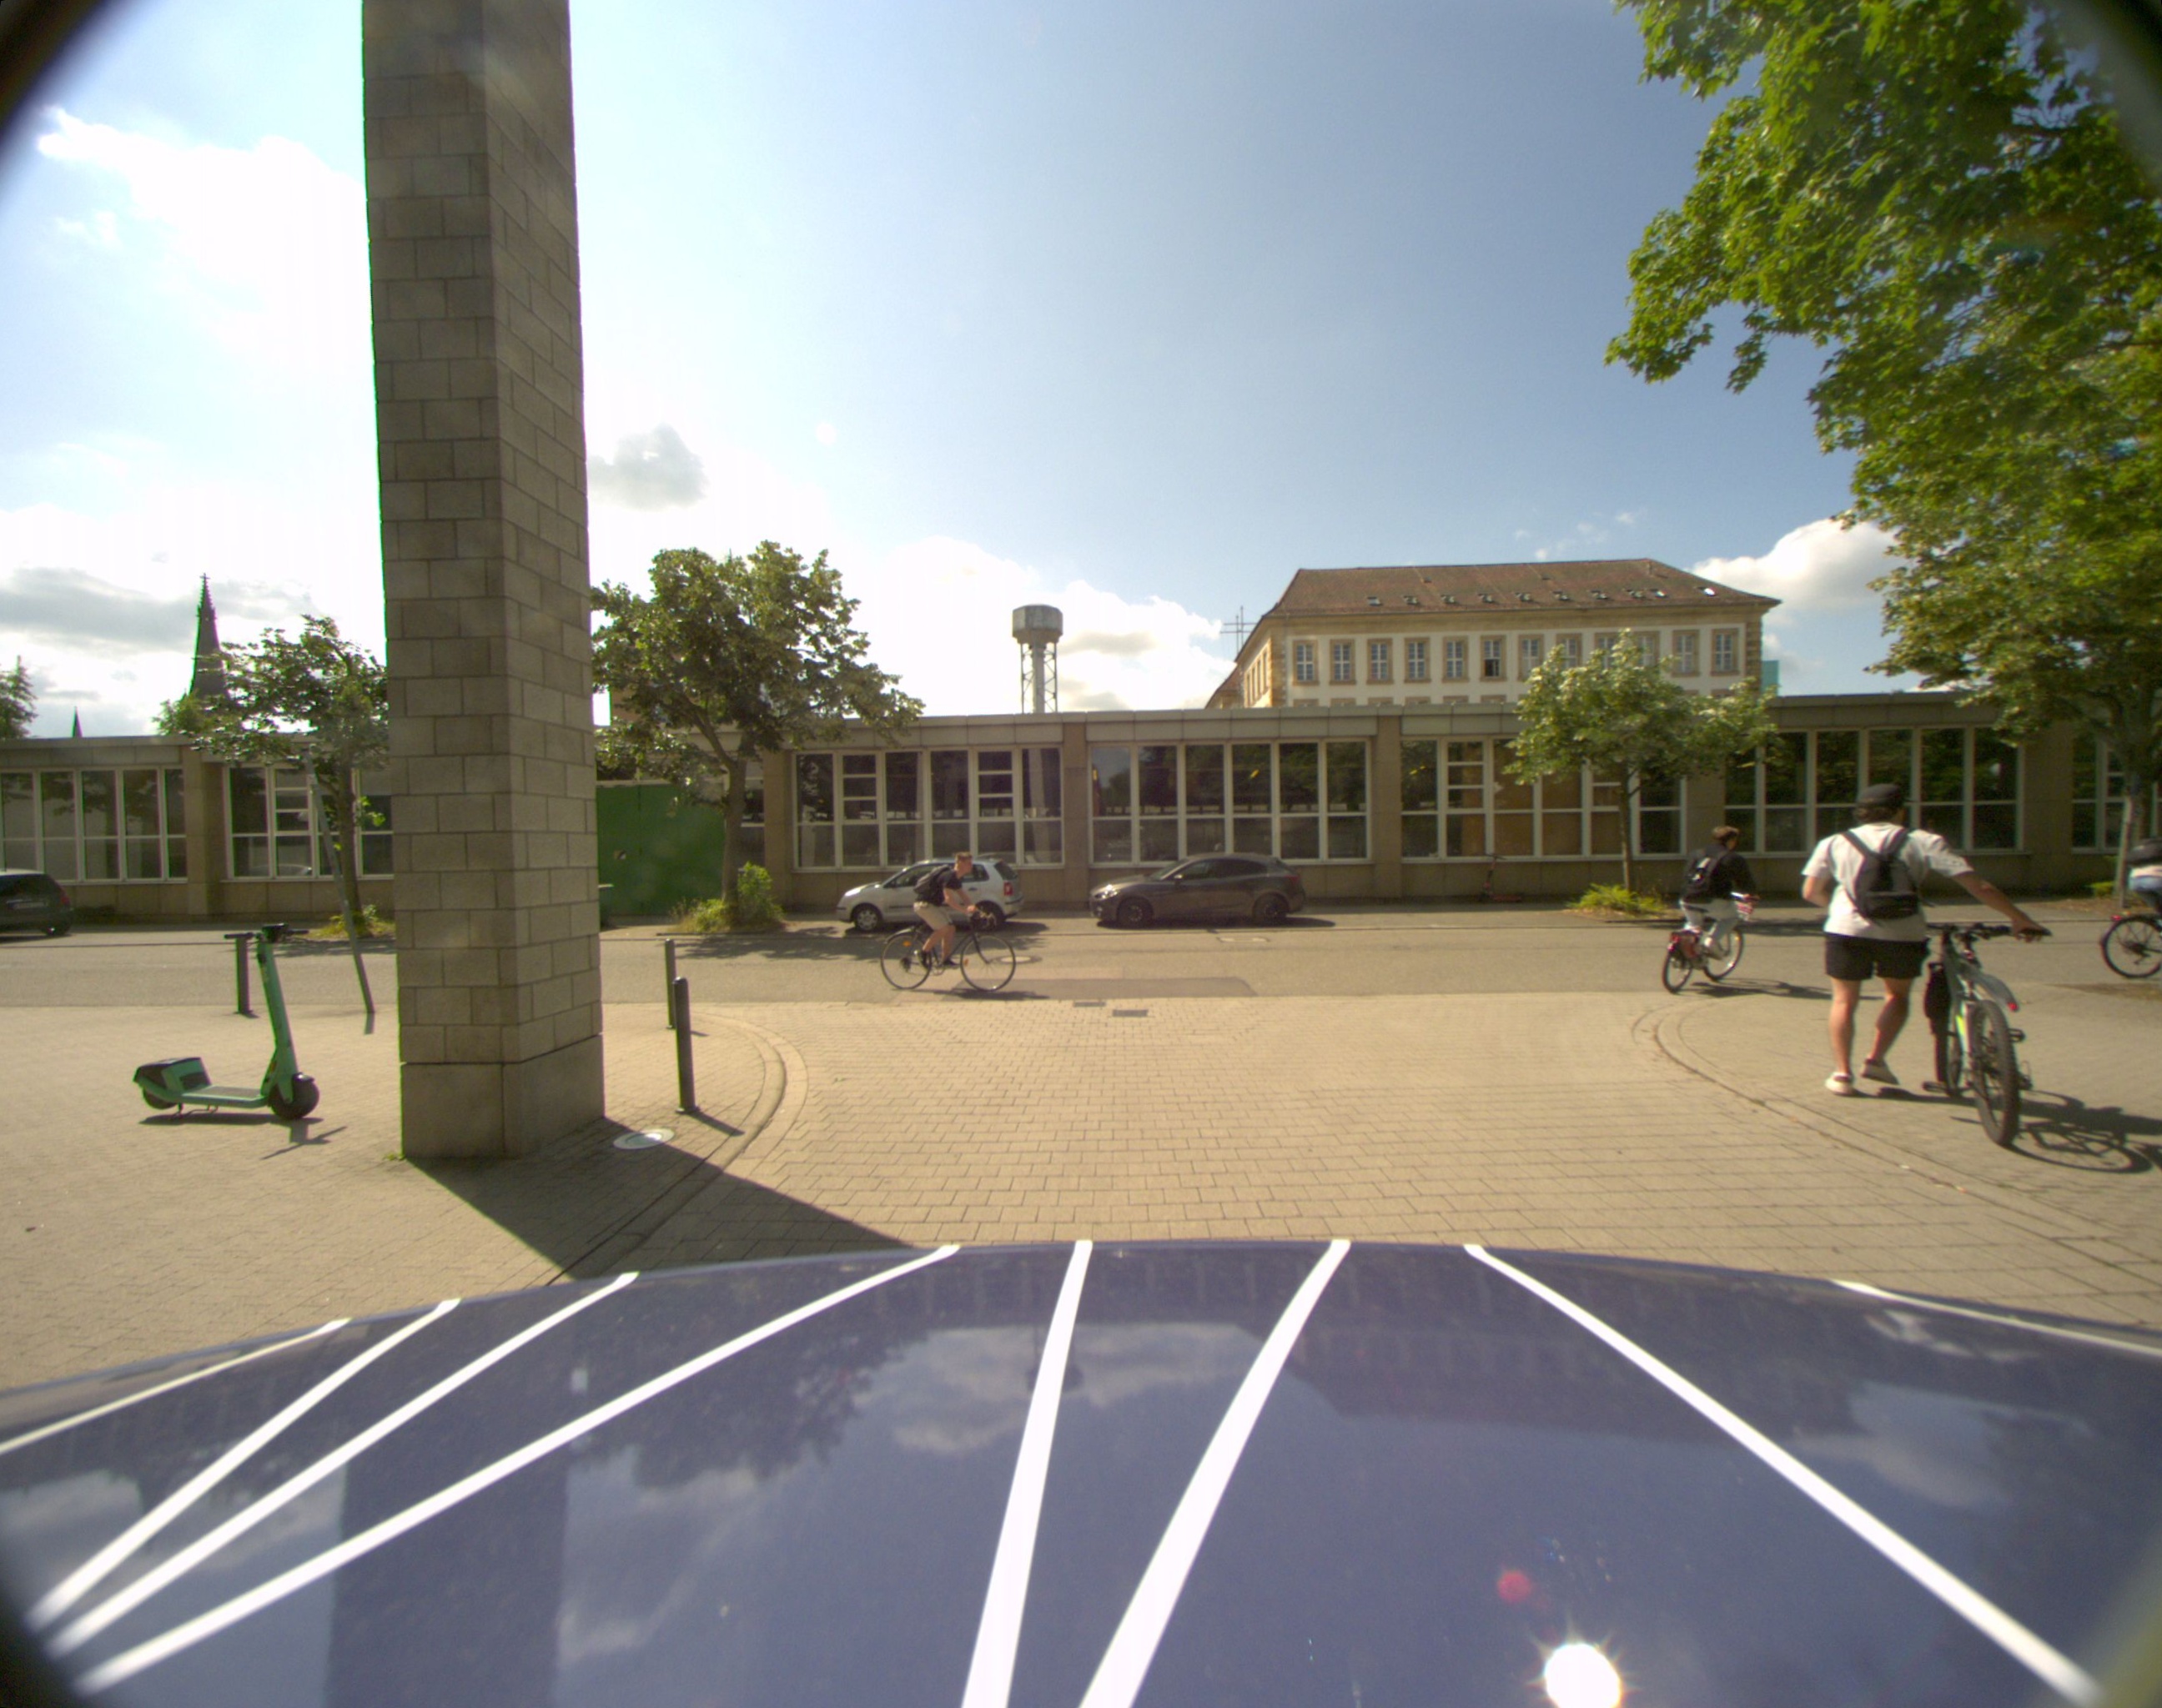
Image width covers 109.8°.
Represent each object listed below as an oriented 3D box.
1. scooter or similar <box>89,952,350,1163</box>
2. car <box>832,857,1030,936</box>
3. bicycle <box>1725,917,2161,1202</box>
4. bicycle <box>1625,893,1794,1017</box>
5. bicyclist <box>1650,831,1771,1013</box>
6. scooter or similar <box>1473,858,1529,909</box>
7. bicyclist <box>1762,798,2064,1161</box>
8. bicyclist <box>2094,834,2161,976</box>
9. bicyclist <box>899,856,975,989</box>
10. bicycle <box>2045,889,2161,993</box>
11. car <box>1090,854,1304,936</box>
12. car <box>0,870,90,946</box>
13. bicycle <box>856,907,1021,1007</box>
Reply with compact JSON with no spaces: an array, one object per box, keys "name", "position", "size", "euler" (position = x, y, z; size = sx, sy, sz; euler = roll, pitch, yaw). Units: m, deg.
[{"name":"scooter or similar","position":[-5.195,1.194,4.606],"size":[1.157,1.144,0.444],"euler":[-1,1,7]},{"name":"car","position":[-3.068,0.864,16.055],"size":[3.775,1.468,1.653],"euler":[-1,3,3]},{"name":"bicycle","position":[4.736,0.988,4.326],"size":[0.804,1.164,1.889],"euler":[-1,-2,12]},{"name":"bicycle","position":[6.935,1.054,8.374],"size":[1.888,1.134,0.673],"euler":[-2,1,-25]},{"name":"bicyclist","position":[6.931,0.696,8.373],"size":[0.970,1.877,0.673],"euler":[-2,2,-24]},{"name":"scooter or similar","position":[10.173,0.709,18.408],"size":[1.157,1.219,0.290],"euler":[-1,1,6]},{"name":"bicyclist","position":[4.737,0.658,4.413],"size":[0.804,1.881,0.868],"euler":[-3,2,12]},{"name":"bicyclist","position":[12.464,0.562,8.647],"size":[0.873,1.565,0.641],"euler":[0,3,16]},{"name":"bicyclist","position":[-1.718,0.808,9.147],"size":[0.727,1.526,0.605],"euler":[-1,3,5]},{"name":"bicycle","position":[12.509,0.986,8.664],"size":[1.816,1.102,0.641],"euler":[0,3,16]},{"name":"car","position":[2.334,0.819,15.918],"size":[4.208,1.468,1.653],"euler":[-2,3,2]},{"name":"car","position":[-25.464,1.220,17.015],"size":[4.130,1.569,1.851],"euler":[-1,2,2]},{"name":"bicycle","position":[-1.693,1.222,9.163],"size":[1.828,1.102,0.605],"euler":[-1,3,6]}]
